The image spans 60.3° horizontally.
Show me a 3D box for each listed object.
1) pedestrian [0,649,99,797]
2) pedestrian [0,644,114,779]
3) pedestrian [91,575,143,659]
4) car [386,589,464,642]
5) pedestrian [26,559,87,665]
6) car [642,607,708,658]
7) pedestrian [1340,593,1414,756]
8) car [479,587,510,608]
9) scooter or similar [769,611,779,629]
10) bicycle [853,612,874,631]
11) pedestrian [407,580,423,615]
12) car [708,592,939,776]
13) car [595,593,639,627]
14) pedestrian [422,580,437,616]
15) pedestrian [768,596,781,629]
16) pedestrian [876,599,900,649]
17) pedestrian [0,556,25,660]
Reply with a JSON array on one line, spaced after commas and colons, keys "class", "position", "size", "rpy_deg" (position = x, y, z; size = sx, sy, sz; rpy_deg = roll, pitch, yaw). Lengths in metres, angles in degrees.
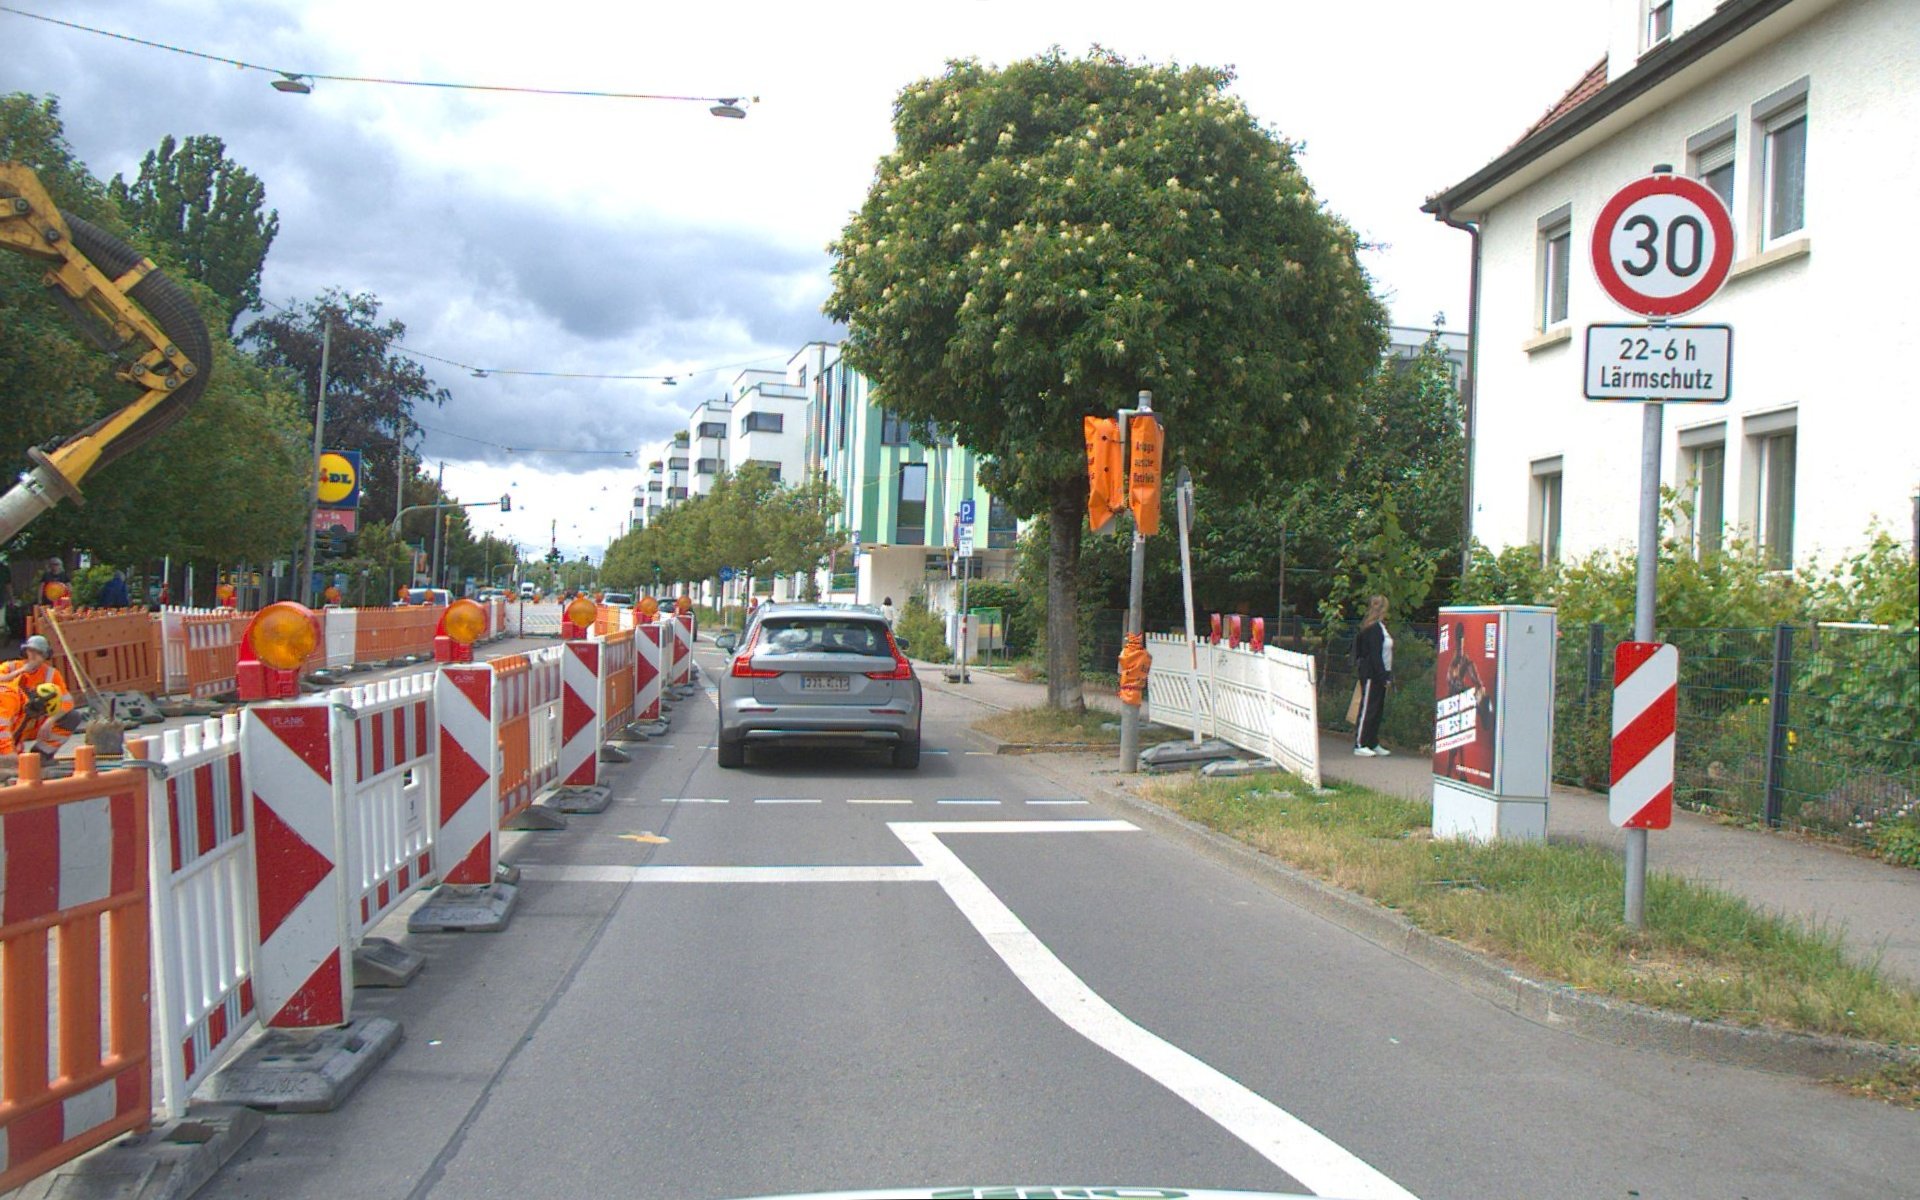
[{"class": "pedestrian", "position": [-7.006, 0.890, 12.230], "size": [0.774, 1.008, 0.812], "rpy_deg": [1, 0, 14]}, {"class": "pedestrian", "position": [-7.337, 0.868, 13.223], "size": [0.628, 1.008, 0.793], "rpy_deg": [1, 0, 24]}, {"class": "pedestrian", "position": [-16.795, 0.335, 32.955], "size": [0.740, 1.631, 0.826], "rpy_deg": [2, 0, -17]}, {"class": "car", "position": [-16.370, 0.443, 50.732], "size": [1.822, 1.478, 3.988], "rpy_deg": [3, 0, -12]}, {"class": "pedestrian", "position": [-16.360, 0.218, 29.948], "size": [0.680, 1.879, 0.623], "rpy_deg": [1, 0, 14]}, {"class": "car", "position": [-9.862, 1.092, 57.072], "size": [1.824, 1.539, 3.984], "rpy_deg": [3, 0, -15]}, {"class": "pedestrian", "position": [4.115, 0.726, 16.354], "size": [0.620, 1.567, 0.522], "rpy_deg": [1, 0, 7]}, {"class": "car", "position": [-35.370, -0.169, 125.774], "size": [1.821, 1.539, 3.990], "rpy_deg": [2, 0, -10]}, {"class": "scooter or similar", "position": [-9.719, 1.036, 86.317], "size": [0.414, 0.921, 0.679], "rpy_deg": [2, 0, -15]}, {"class": "bicycle", "position": [-4.421, 0.973, 75.794], "size": [0.302, 0.856, 1.018], "rpy_deg": [1, 0, 42]}, {"class": "pedestrian", "position": [-29.268, -0.133, 88.831], "size": [0.670, 1.887, 0.704], "rpy_deg": [2, -1, -15]}, {"class": "car", "position": [-1.445, 0.715, 15.995], "size": [1.821, 1.539, 3.990], "rpy_deg": [1, 0, -11]}, {"class": "car", "position": [-16.944, 0.464, 81.526], "size": [1.814, 1.539, 3.984], "rpy_deg": [3, 0, -15]}, {"class": "pedestrian", "position": [-28.563, -0.112, 89.075], "size": [0.670, 1.887, 0.889], "rpy_deg": [2, -1, -14]}, {"class": "pedestrian", "position": [-9.739, 0.660, 86.762], "size": [0.595, 1.684, 0.550], "rpy_deg": [2, -1, -15]}, {"class": "pedestrian", "position": [-2.317, 0.760, 53.403], "size": [0.571, 1.579, 0.865], "rpy_deg": [2, -1, -15]}, {"class": "pedestrian", "position": [-17.545, 0.139, 30.103], "size": [0.612, 1.879, 0.623], "rpy_deg": [1, 0, 14]}]
